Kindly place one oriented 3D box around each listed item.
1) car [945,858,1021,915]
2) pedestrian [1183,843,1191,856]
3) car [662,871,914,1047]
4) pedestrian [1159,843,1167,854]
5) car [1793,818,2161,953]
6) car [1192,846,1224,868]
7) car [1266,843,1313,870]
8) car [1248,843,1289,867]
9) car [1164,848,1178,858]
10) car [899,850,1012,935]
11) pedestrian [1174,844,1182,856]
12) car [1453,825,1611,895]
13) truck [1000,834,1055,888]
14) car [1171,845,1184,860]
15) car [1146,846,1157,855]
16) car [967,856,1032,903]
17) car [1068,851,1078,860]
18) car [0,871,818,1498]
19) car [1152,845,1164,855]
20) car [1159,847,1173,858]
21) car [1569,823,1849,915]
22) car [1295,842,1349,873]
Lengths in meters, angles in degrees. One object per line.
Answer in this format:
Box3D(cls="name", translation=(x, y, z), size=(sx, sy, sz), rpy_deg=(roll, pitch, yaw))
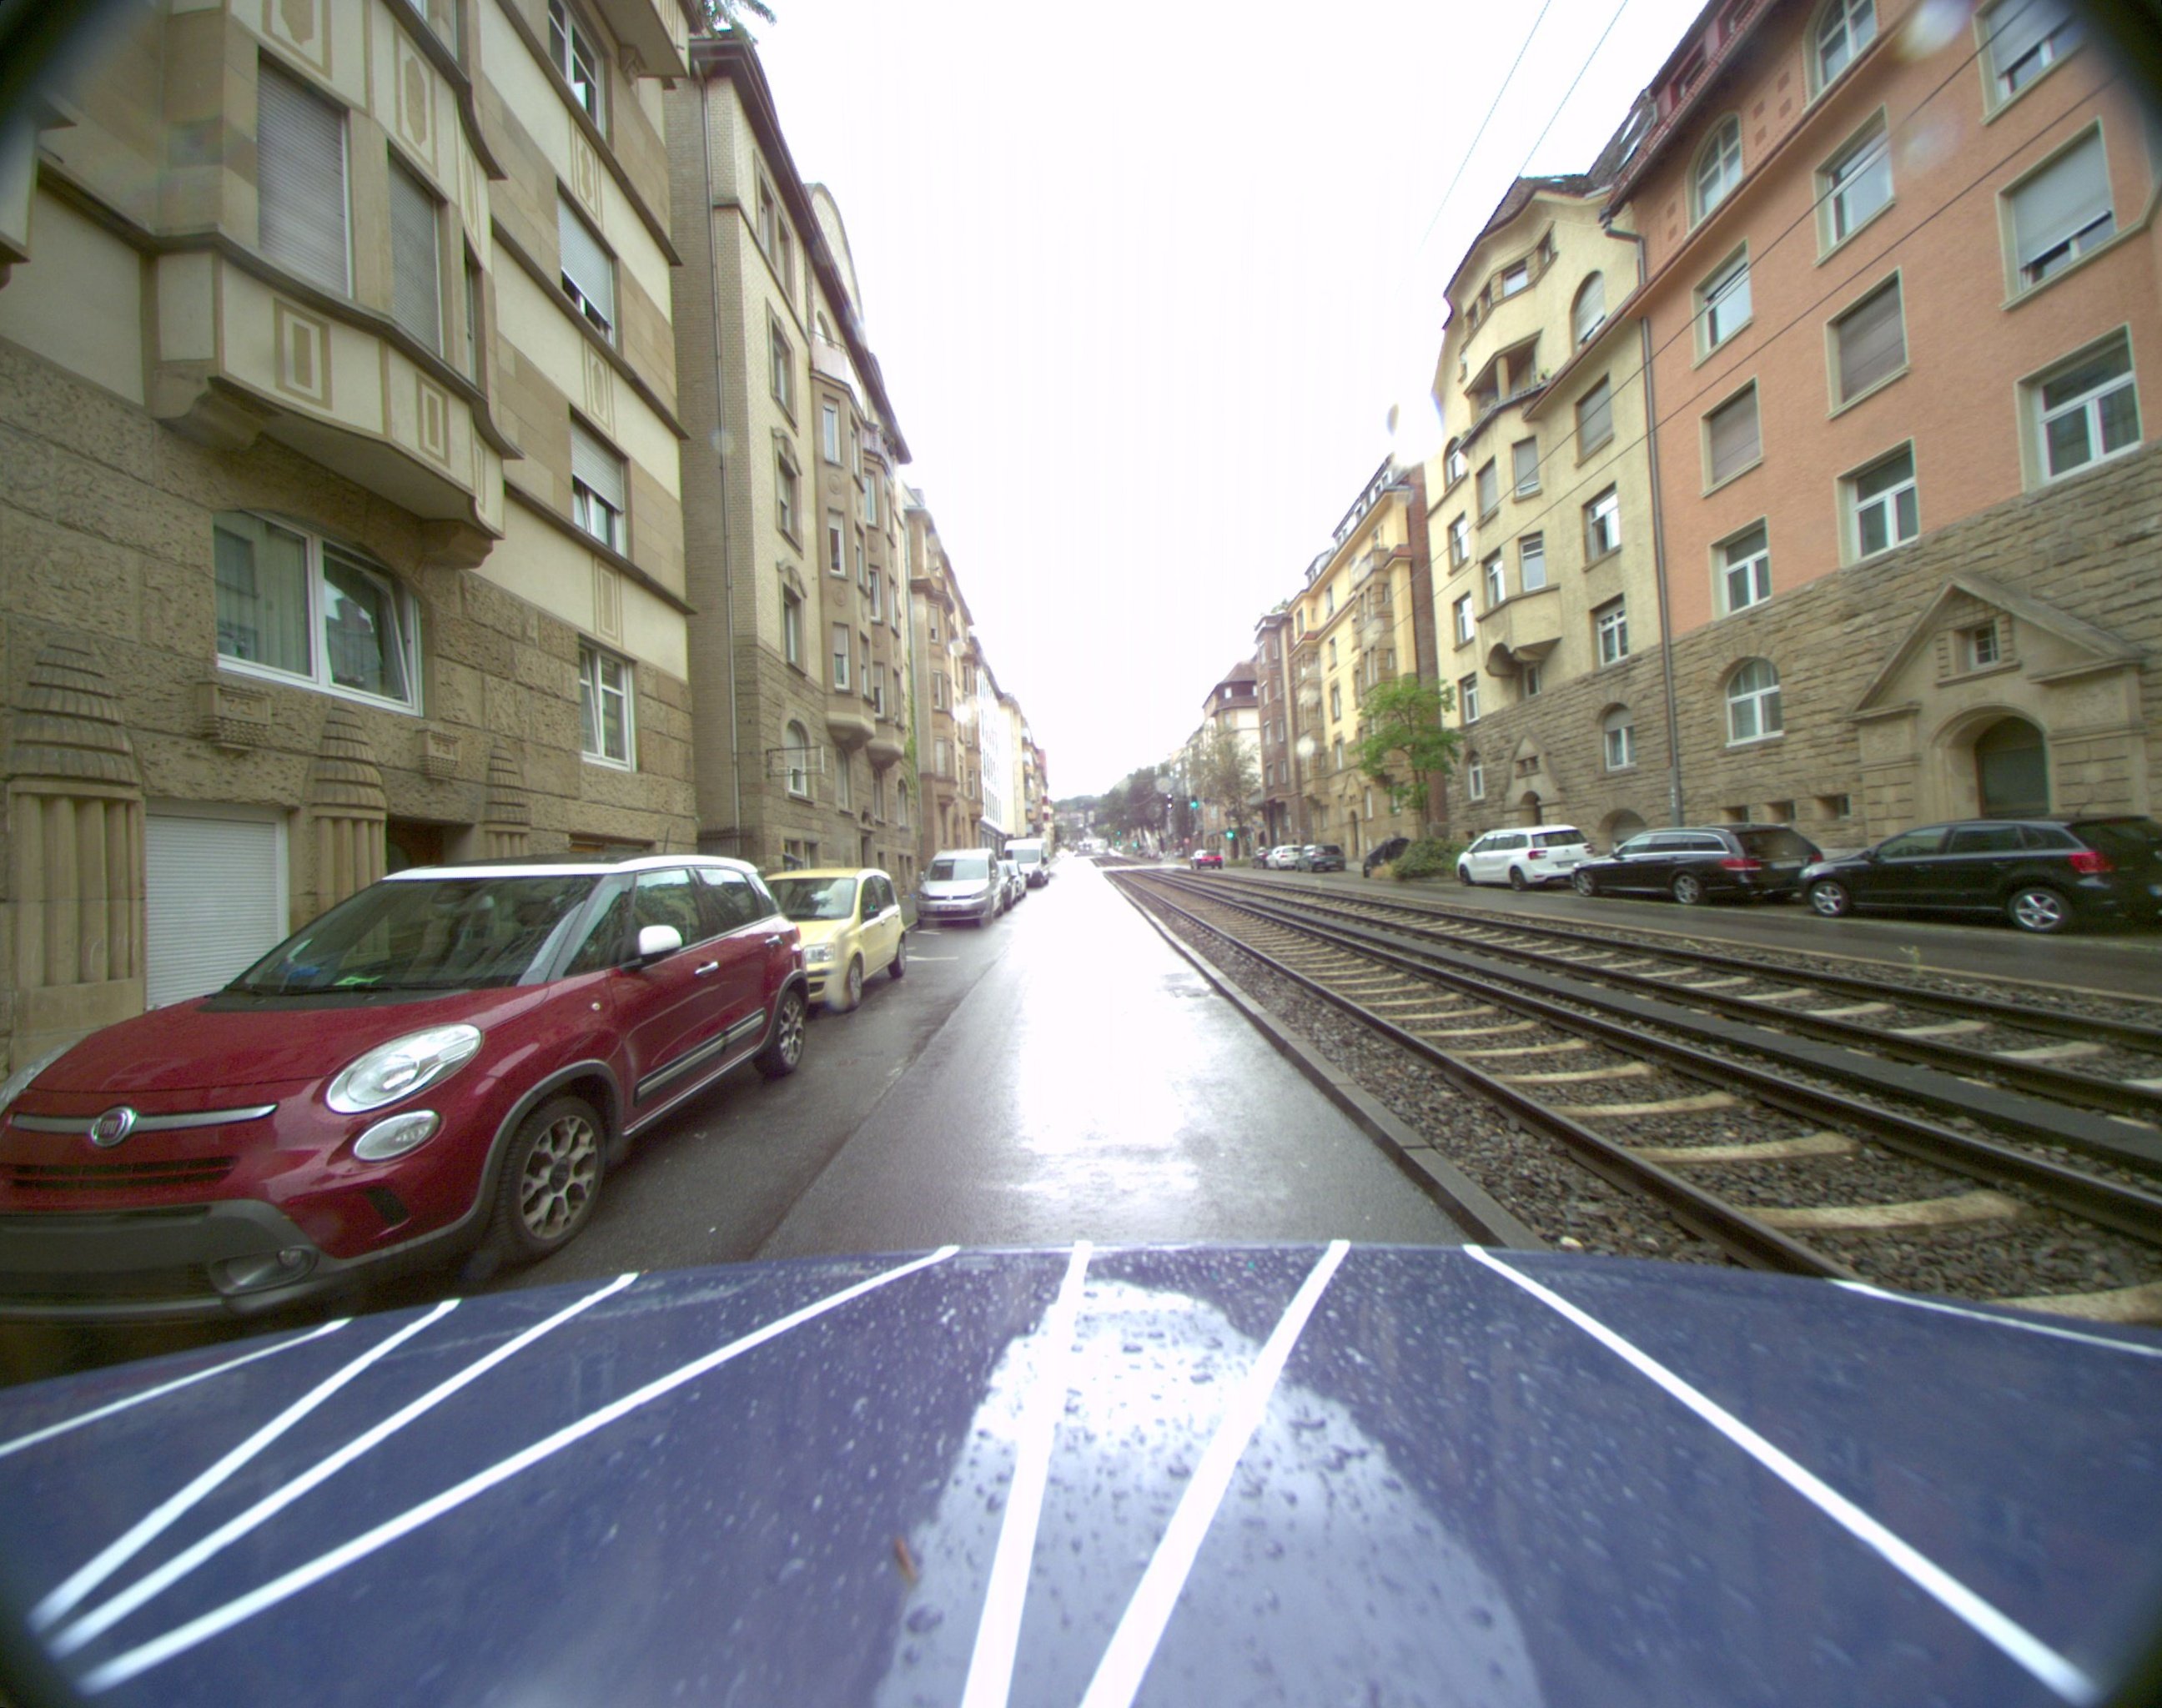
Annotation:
Box3D(cls="car", translation=(-2.962, 0.941, 23.811), size=(1.999, 1.521, 3.999), rpy_deg=(-3, 0, -3))
Box3D(cls="pedestrian", translation=(16.624, -0.680, 119.544), size=(1.056, 1.946, 1.163), rpy_deg=(-3, 1, 2))
Box3D(cls="car", translation=(-3.187, 1.042, 9.036), size=(1.580, 1.520, 3.578), rpy_deg=(-3, 0, -1))
Box3D(cls="pedestrian", translation=(16.007, -1.060, 148.135), size=(1.380, 1.946, 1.379), rpy_deg=(-3, 1, 2))
Box3D(cls="car", translation=(12.531, 0.325, 10.461), size=(1.935, 1.488, 3.642), rpy_deg=(-2, 1, -2))
Box3D(cls="car", translation=(9.689, 0.186, 58.191), size=(1.807, 1.514, 4.965), rpy_deg=(-2, 0, 3))
Box3D(cls="car", translation=(12.475, 0.129, 45.648), size=(1.771, 1.433, 4.031), rpy_deg=(-3, 0, 2))
Box3D(cls="car", translation=(12.485, 0.076, 50.742), size=(1.771, 1.433, 3.845), rpy_deg=(-3, 0, 1))
Box3D(cls="car", translation=(12.578, -0.084, 106.377), size=(1.583, 1.303, 3.845), rpy_deg=(-3, 0, 1))
Box3D(cls="car", translation=(-3.008, 0.850, 19.194), size=(1.968, 1.792, 4.459), rpy_deg=(-3, 0, 1))
Box3D(cls="pedestrian", translation=(15.283, -0.629, 119.559), size=(1.056, 1.946, 1.163), rpy_deg=(-3, 1, 2))
Box3D(cls="car", translation=(12.275, 0.145, 21.041), size=(1.867, 1.646, 4.146), rpy_deg=(-3, 0, 1))
Box3D(cls="truck", translation=(-2.721, 0.344, 39.940), size=(2.235, 2.521, 6.143), rpy_deg=(-3, 0, 1))
Box3D(cls="car", translation=(12.676, -0.230, 99.540), size=(1.583, 1.669, 3.790), rpy_deg=(-3, 2, 7))
Box3D(cls="car", translation=(12.440, -0.629, 133.699), size=(1.632, 1.537, 3.801), rpy_deg=(-3, 0, 1))
Box3D(cls="car", translation=(-2.951, 0.883, 28.311), size=(1.891, 1.521, 3.929), rpy_deg=(-3, 0, 1))
Box3D(cls="car", translation=(-1.813, 0.371, 176.578), size=(1.998, 1.838, 4.000), rpy_deg=(-3, 0, 1))
Box3D(cls="car", translation=(-3.031, 0.980, 4.087), size=(1.807, 1.590, 3.999), rpy_deg=(-3, 0, -1))
Box3D(cls="car", translation=(12.870, -0.631, 126.830), size=(1.657, 1.589, 3.775), rpy_deg=(-3, 0, 1))
Box3D(cls="car", translation=(12.874, -0.272, 115.360), size=(1.771, 1.507, 3.845), rpy_deg=(-3, 0, 1))
Box3D(cls="car", translation=(12.293, 0.257, 15.379), size=(1.847, 1.486, 4.601), rpy_deg=(-3, 0, 1))
Box3D(cls="car", translation=(12.507, 0.140, 39.609), size=(1.678, 1.433, 3.845), rpy_deg=(-4, 1, 3))
